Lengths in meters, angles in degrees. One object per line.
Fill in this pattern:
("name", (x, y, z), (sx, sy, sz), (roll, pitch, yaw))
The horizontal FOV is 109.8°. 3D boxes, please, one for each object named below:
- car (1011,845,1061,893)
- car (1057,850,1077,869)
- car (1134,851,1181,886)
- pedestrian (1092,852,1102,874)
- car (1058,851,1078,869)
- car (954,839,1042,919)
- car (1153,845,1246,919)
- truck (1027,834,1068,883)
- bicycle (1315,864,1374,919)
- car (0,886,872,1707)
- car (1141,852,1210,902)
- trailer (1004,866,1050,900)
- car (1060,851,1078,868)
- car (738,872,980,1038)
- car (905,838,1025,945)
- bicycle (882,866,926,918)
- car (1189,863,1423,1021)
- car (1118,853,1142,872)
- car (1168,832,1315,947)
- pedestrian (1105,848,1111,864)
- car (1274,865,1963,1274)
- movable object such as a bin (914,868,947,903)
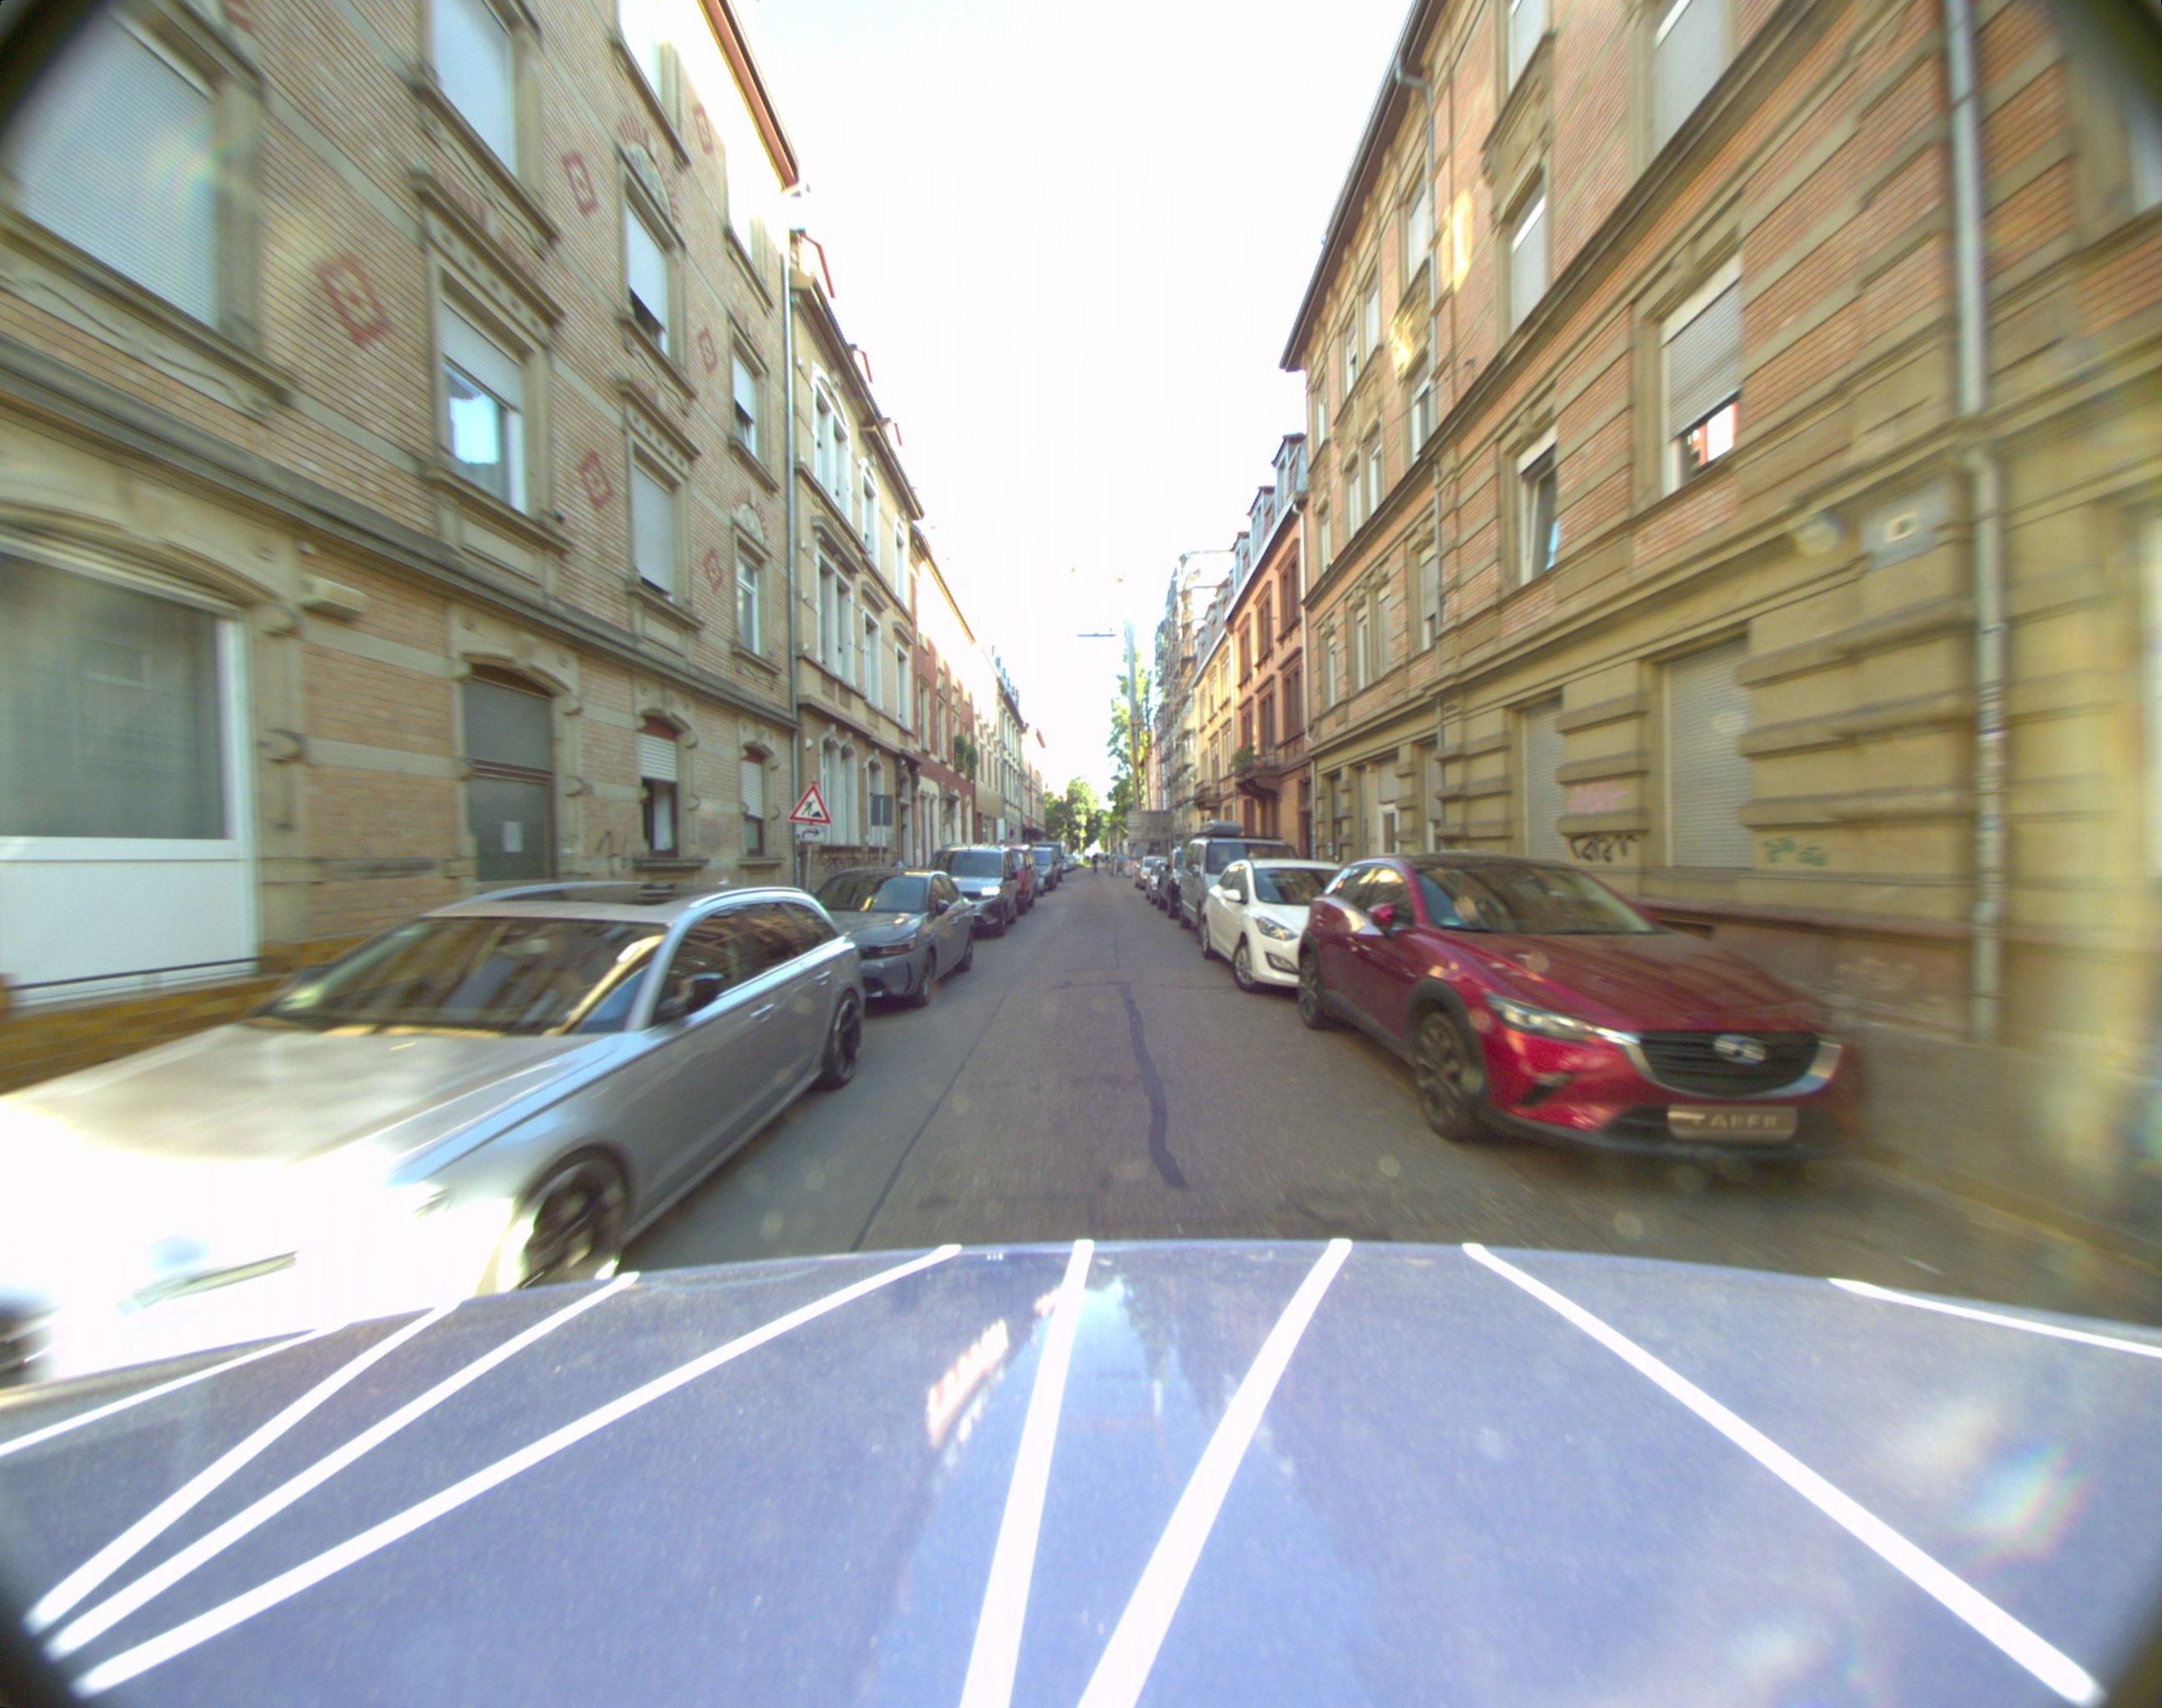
("car", (-1.970, 0.630, 34.794), (1.849, 1.972, 4.576), (-3, 0, 1))
("car", (-1.330, 0.490, 73.301), (1.603, 1.652, 4.060), (-3, 0, 1))
("car", (3.296, 0.584, 33.412), (1.678, 1.410, 4.000), (0, 0, 0))
("pedestrian", (1.306, 0.735, 61.048), (0.740, 1.743, 0.997), (-1, 1, 2))
("car", (-1.144, 0.519, 68.265), (1.525, 1.525, 3.463), (4, 0, 1))
("car", (-2.279, 0.651, 22.164), (1.836, 2.002, 4.741), (-3, 0, 1))
("car", (2.946, 0.630, 19.832), (1.792, 1.615, 4.608), (-3, 0, 2))
("truck", (-1.966, 0.240, 45.508), (2.154, 2.642, 6.252), (3, 0, -1))
("bicycle", (5.847, 0.807, 16.958), (0.668, 1.118, 1.785), (-4, 0, 2))
("car", (-2.528, 1.026, 3.526), (1.710, 1.450, 4.511), (-3, 0, 1))
("car", (2.975, 0.688, 24.634), (1.703, 1.306, 4.000), (-4, 1, 1))
("trailer", (-2.074, 1.114, 29.821), (1.508, 1.106, 3.039), (-5, 0, -1))
("car", (-1.229, 0.593, 78.871), (1.603, 1.626, 3.774), (-3, 0, 1))
("car", (-2.384, 1.012, 9.202), (1.670, 1.470, 3.888), (-1, 0, 1))
("car", (-2.362, 0.692, 16.533), (1.774, 1.949, 4.264), (-3, 0, 1))
("bicycle", (-4.811, 0.996, 20.704), (0.728, 1.296, 1.692), (2, 1, 1))
("car", (2.493, 0.890, 9.417), (1.678, 1.412, 3.874), (-3, 0, 0))
("car", (4.113, 0.721, 64.477), (1.771, 1.500, 4.696), (0, 0, 1))
("car", (2.850, 0.556, 14.565), (1.897, 1.774, 4.608), (-3, 0, 2))
("pedestrian", (2.647, 0.190, 74.011), (0.594, 1.634, 0.813), (1, 1, 1))
("car", (2.650, 0.896, 5.061), (1.727, 1.472, 4.089), (-3, 0, 1))
("movable object such as a bin", (-4.861, 1.010, 24.599), (0.898, 1.055, 0.722), (2, 1, -1))
